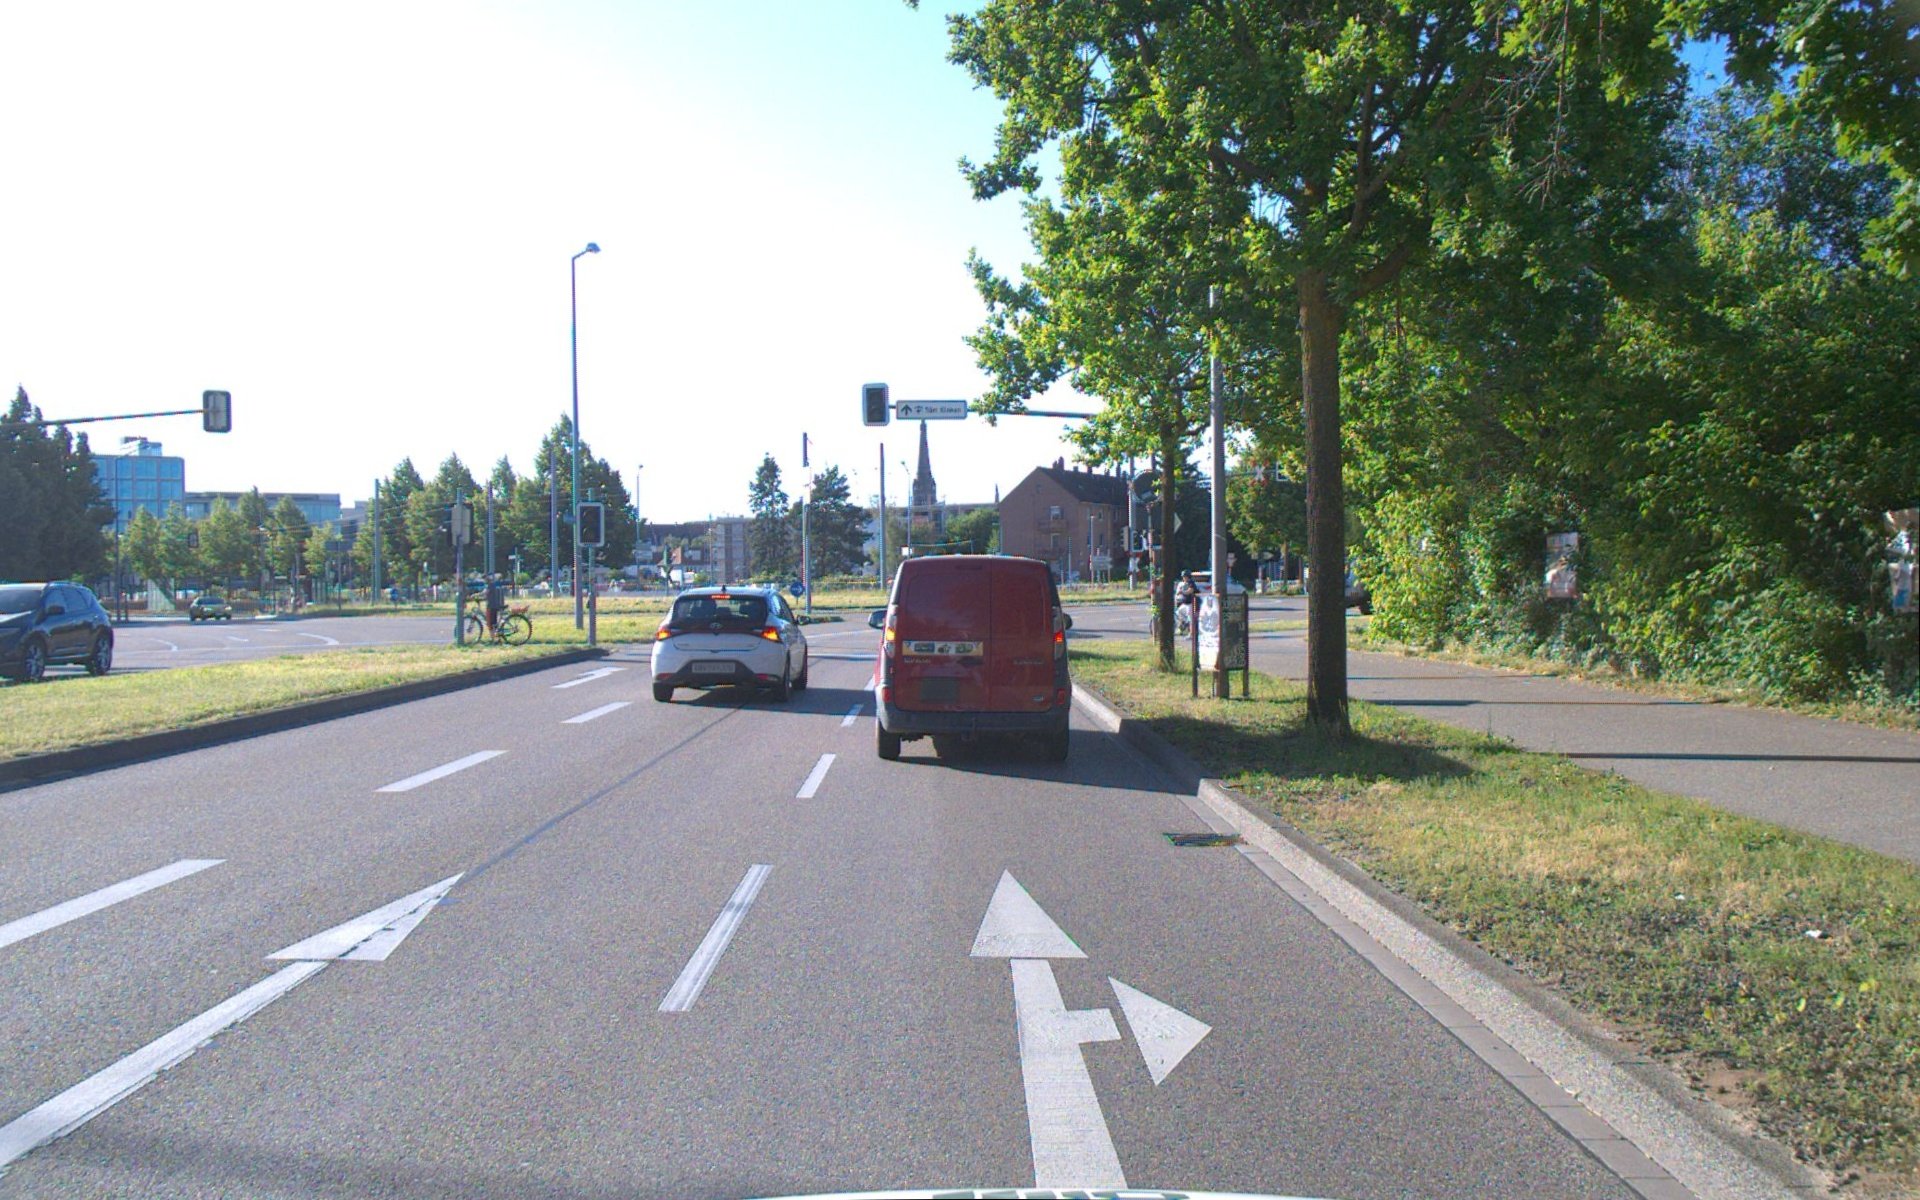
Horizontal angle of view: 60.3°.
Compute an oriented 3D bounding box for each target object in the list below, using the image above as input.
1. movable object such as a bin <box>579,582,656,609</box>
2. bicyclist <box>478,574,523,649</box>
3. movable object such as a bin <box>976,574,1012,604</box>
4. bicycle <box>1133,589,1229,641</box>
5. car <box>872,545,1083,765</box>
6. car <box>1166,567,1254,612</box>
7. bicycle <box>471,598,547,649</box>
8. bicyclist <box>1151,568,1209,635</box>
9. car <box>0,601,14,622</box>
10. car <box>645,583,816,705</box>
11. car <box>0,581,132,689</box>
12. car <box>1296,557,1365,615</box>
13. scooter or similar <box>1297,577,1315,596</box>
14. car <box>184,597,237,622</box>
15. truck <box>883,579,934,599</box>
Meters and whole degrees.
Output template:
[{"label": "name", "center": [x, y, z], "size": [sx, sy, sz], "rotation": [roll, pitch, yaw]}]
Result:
[{"label": "movable object such as a bin", "center": [-37.343, -0.506, 180.667], "size": [7.858, 2.831, 2.901], "rotation": [-1, 1, -40]}, {"label": "bicyclist", "center": [-10.550, 0.267, 37.978], "size": [0.923, 1.692, 0.703], "rotation": [0, -1, -10]}, {"label": "movable object such as a bin", "center": [3.272, -1.022, 159.989], "size": [2.380, 2.822, 3.982], "rotation": [1, -1, -16]}, {"label": "bicycle", "center": [5.460, 0.374, 40.870], "size": [2.181, 1.175, 0.870], "rotation": [-2, -1, -24]}, {"label": "car", "center": [0.161, 0.455, 15.892], "size": [1.765, 1.845, 3.810], "rotation": [1, 0, 0]}, {"label": "car", "center": [9.830, -0.438, 64.845], "size": [1.956, 1.667, 4.400], "rotation": [-1, 1, 30]}, {"label": "bicycle", "center": [-10.357, 0.540, 38.021], "size": [1.620, 1.148, 0.702], "rotation": [0, -1, -10]}, {"label": "bicyclist", "center": [5.430, 0.039, 40.858], "size": [1.070, 1.589, 0.870], "rotation": [-2, -1, -24]}, {"label": "car", "center": [-85.885, 1.017, 145.994], "size": [4.917, 1.816, 2.451], "rotation": [0, 0, 38]}, {"label": "car", "center": [-3.016, 0.537, 22.443], "size": [1.766, 1.487, 3.809], "rotation": [1, 0, 0]}, {"label": "car", "center": [-16.757, 0.597, 29.490], "size": [1.955, 1.769, 4.732], "rotation": [-1, 0, -6]}, {"label": "car", "center": [12.829, -0.459, 57.488], "size": [1.954, 1.930, 4.756], "rotation": [-1, 0, 8]}, {"label": "scooter or similar", "center": [24.525, -0.955, 117.273], "size": [0.440, 1.270, 1.246], "rotation": [1, -2, -39]}, {"label": "car", "center": [-50.031, 0.626, 110.375], "size": [1.992, 1.568, 4.258], "rotation": [-1, 1, -42]}, {"label": "truck", "center": [-5.549, -1.119, 177.671], "size": [2.150, 2.049, 6.345], "rotation": [1, -1, -39]}]
